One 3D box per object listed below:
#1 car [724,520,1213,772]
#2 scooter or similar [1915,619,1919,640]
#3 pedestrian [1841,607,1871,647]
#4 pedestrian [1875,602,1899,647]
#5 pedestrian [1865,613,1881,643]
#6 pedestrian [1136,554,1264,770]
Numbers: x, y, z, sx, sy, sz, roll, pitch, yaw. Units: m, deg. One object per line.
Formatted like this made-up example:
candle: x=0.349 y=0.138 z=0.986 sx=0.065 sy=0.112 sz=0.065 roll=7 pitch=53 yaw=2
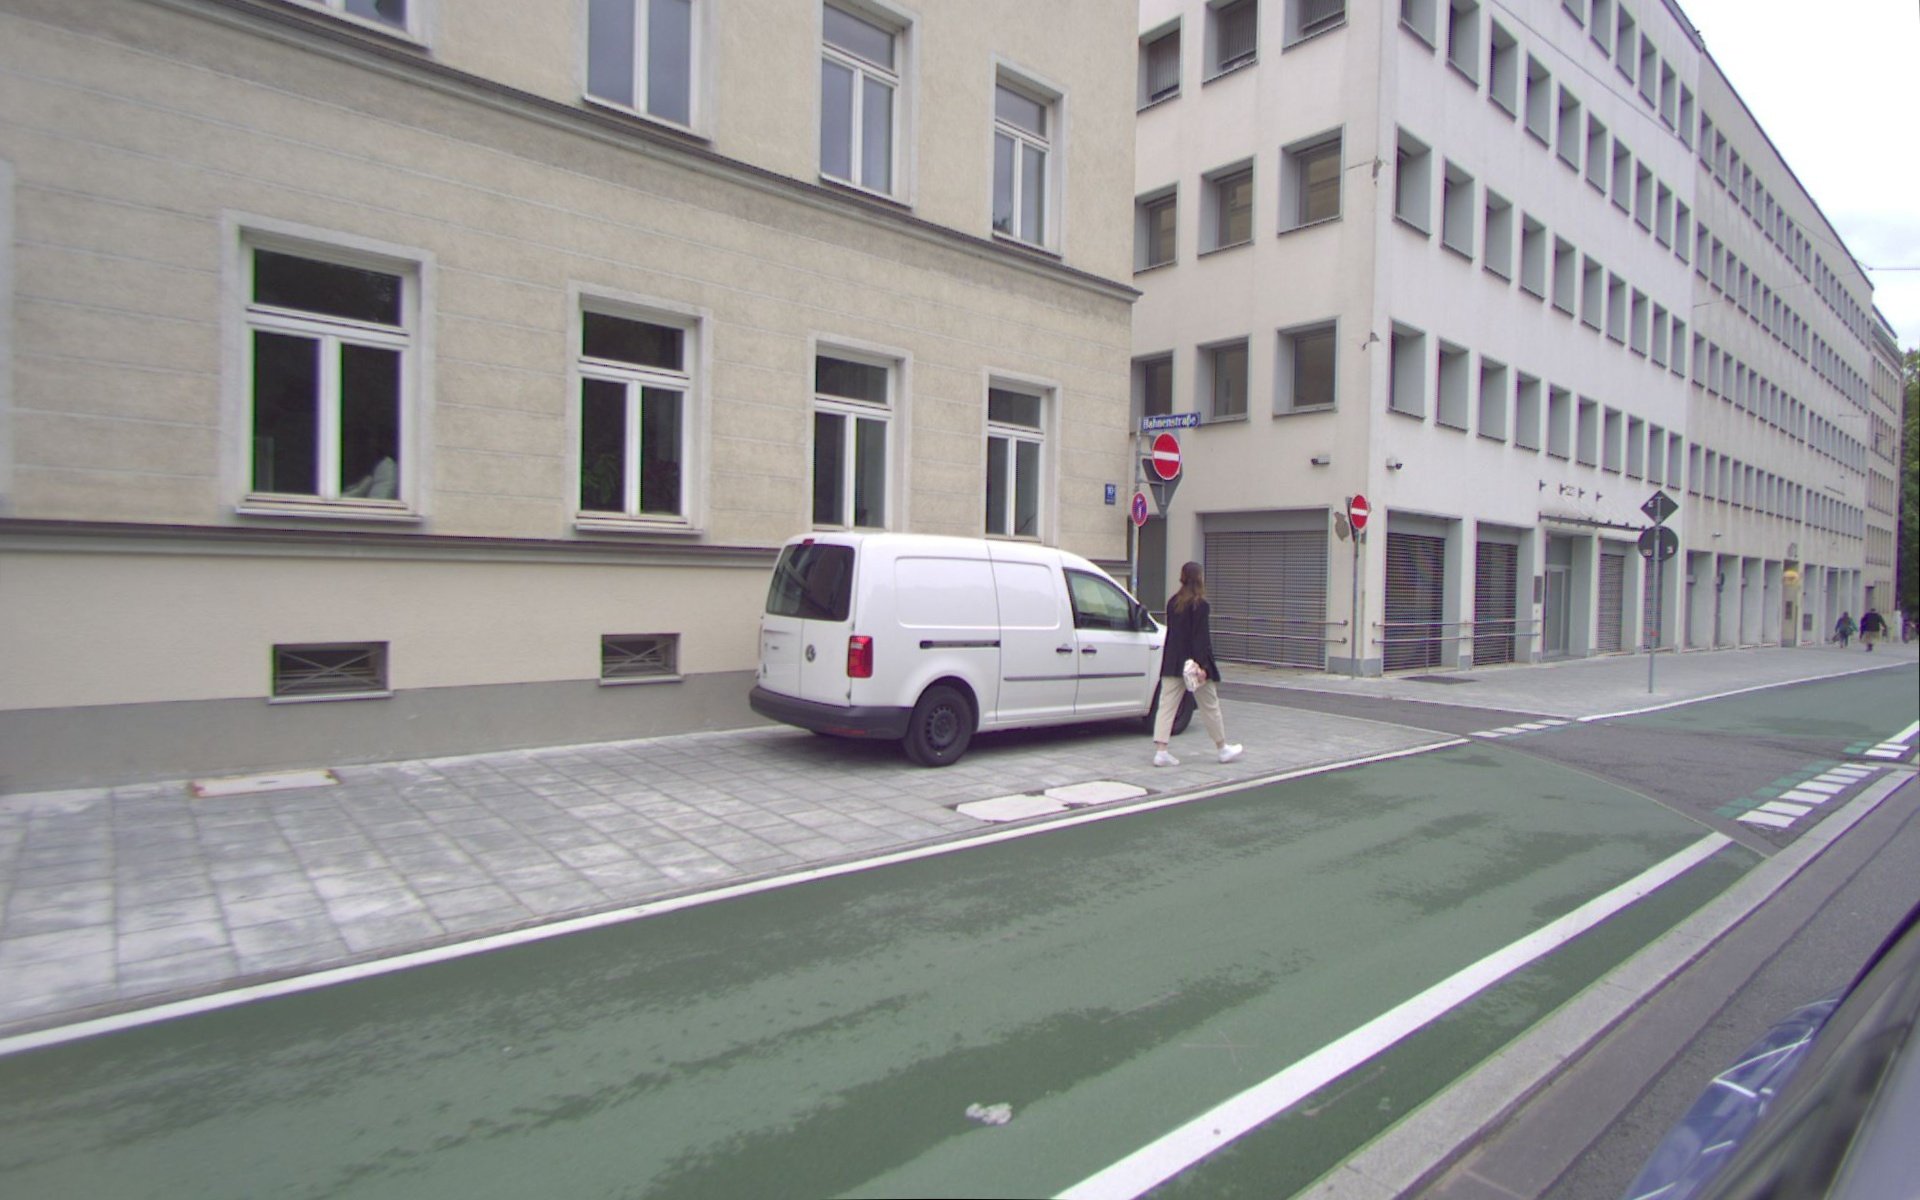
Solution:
car: x=0.257 y=0.297 z=9.205 sx=4.357 sy=1.771 sz=1.737 roll=0 pitch=2 yaw=-41
scooter or similar: x=59.298 y=1.827 z=62.443 sx=1.100 sy=1.288 sz=0.387 roll=0 pitch=3 yaw=-42
pedestrian: x=39.551 y=1.183 z=44.680 sx=0.691 sy=1.638 sz=0.754 roll=1 pitch=4 yaw=-41
pedestrian: x=39.227 y=1.017 z=42.814 sx=0.591 sy=1.857 sz=0.514 roll=1 pitch=4 yaw=-41
pedestrian: x=39.133 y=1.194 z=43.367 sx=0.461 sy=1.261 sz=0.368 roll=1 pitch=4 yaw=-41
pedestrian: x=1.967 y=0.472 z=8.302 sx=0.724 sy=1.656 sz=0.666 roll=1 pitch=2 yaw=-41
